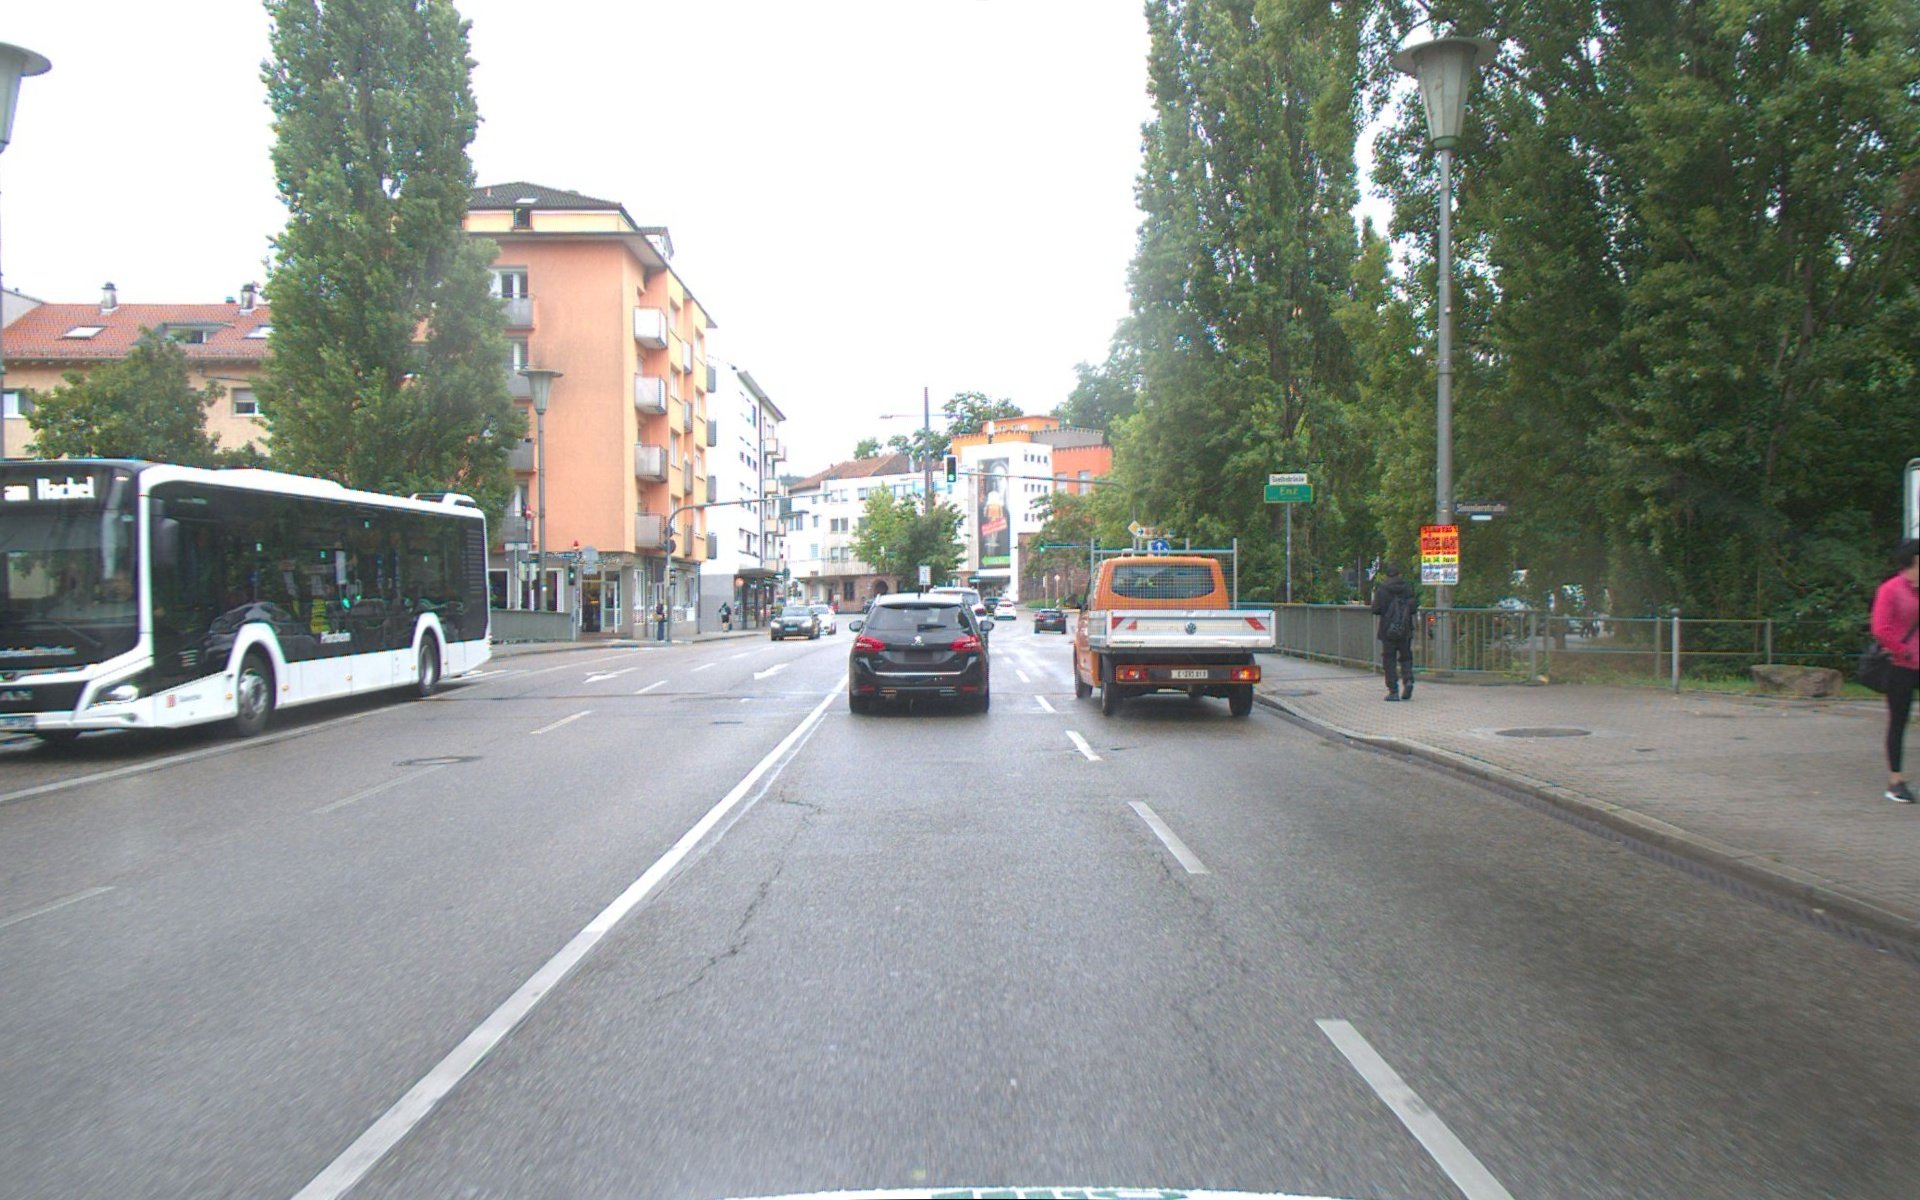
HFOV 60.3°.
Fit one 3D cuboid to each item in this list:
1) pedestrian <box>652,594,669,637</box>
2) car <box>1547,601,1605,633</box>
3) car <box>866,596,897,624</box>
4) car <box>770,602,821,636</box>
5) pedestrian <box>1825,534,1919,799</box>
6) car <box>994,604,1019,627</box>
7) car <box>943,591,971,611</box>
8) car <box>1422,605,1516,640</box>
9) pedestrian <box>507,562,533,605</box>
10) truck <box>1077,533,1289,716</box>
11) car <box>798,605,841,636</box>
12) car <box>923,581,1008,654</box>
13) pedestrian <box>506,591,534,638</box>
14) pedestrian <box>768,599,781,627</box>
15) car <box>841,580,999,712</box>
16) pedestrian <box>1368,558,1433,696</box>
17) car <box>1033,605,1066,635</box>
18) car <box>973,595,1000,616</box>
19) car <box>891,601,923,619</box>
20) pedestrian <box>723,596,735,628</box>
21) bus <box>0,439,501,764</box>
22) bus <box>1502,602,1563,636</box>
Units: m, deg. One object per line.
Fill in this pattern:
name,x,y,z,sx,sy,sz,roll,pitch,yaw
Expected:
pedestrian,-12.341,0.638,68.195,0.519,1.757,0.649,-1,0,3
car,33.168,0.918,89.133,1.781,1.680,4.001,1,-1,3
car,-4.791,0.628,101.761,1.701,1.629,3.919,-2,0,0
car,-6.917,0.785,69.847,1.755,1.348,4.405,-1,0,-1
pedestrian,6.186,0.404,10.719,0.702,1.648,0.769,-2,0,-1
car,3.811,1.246,136.438,1.953,1.853,3.999,1,0,-1
car,-0.252,0.127,147.318,1.956,1.713,3.992,-1,0,-8
car,25.028,1.101,81.451,4.040,1.649,1.804,0,0,-5
pedestrian,-15.852,-0.596,59.631,0.638,1.471,0.800,-2,-2,5
truck,2.712,0.262,21.194,2.078,2.060,4.716,1,0,0
car,-7.186,1.017,85.075,1.798,1.536,4.820,-1,0,0
car,0.166,0.390,36.811,1.757,1.509,4.001,-1,0,2
pedestrian,-16.048,0.530,60.368,0.783,1.692,0.619,-3,-3,34
pedestrian,-13.902,0.990,124.071,0.719,2.049,0.650,4,-3,-34
car,-0.423,0.576,21.526,1.757,1.509,4.001,1,-1,2
pedestrian,5.540,0.328,20.831,0.627,1.693,0.563,-1,1,-2
car,5.228,1.197,96.943,1.611,1.592,3.599,2,-3,0
car,2.348,0.496,146.320,1.615,1.592,3.590,3,-3,-11
car,-4.980,0.937,155.149,1.624,1.592,3.571,4,-3,-25
pedestrian,-13.674,0.692,97.787,0.626,1.893,0.523,1,0,-2
bus,-9.184,-0.110,22.067,2.688,3.129,12.238,0,1,0
bus,30.486,0.991,88.186,1.952,1.754,4.001,0,-1,2
